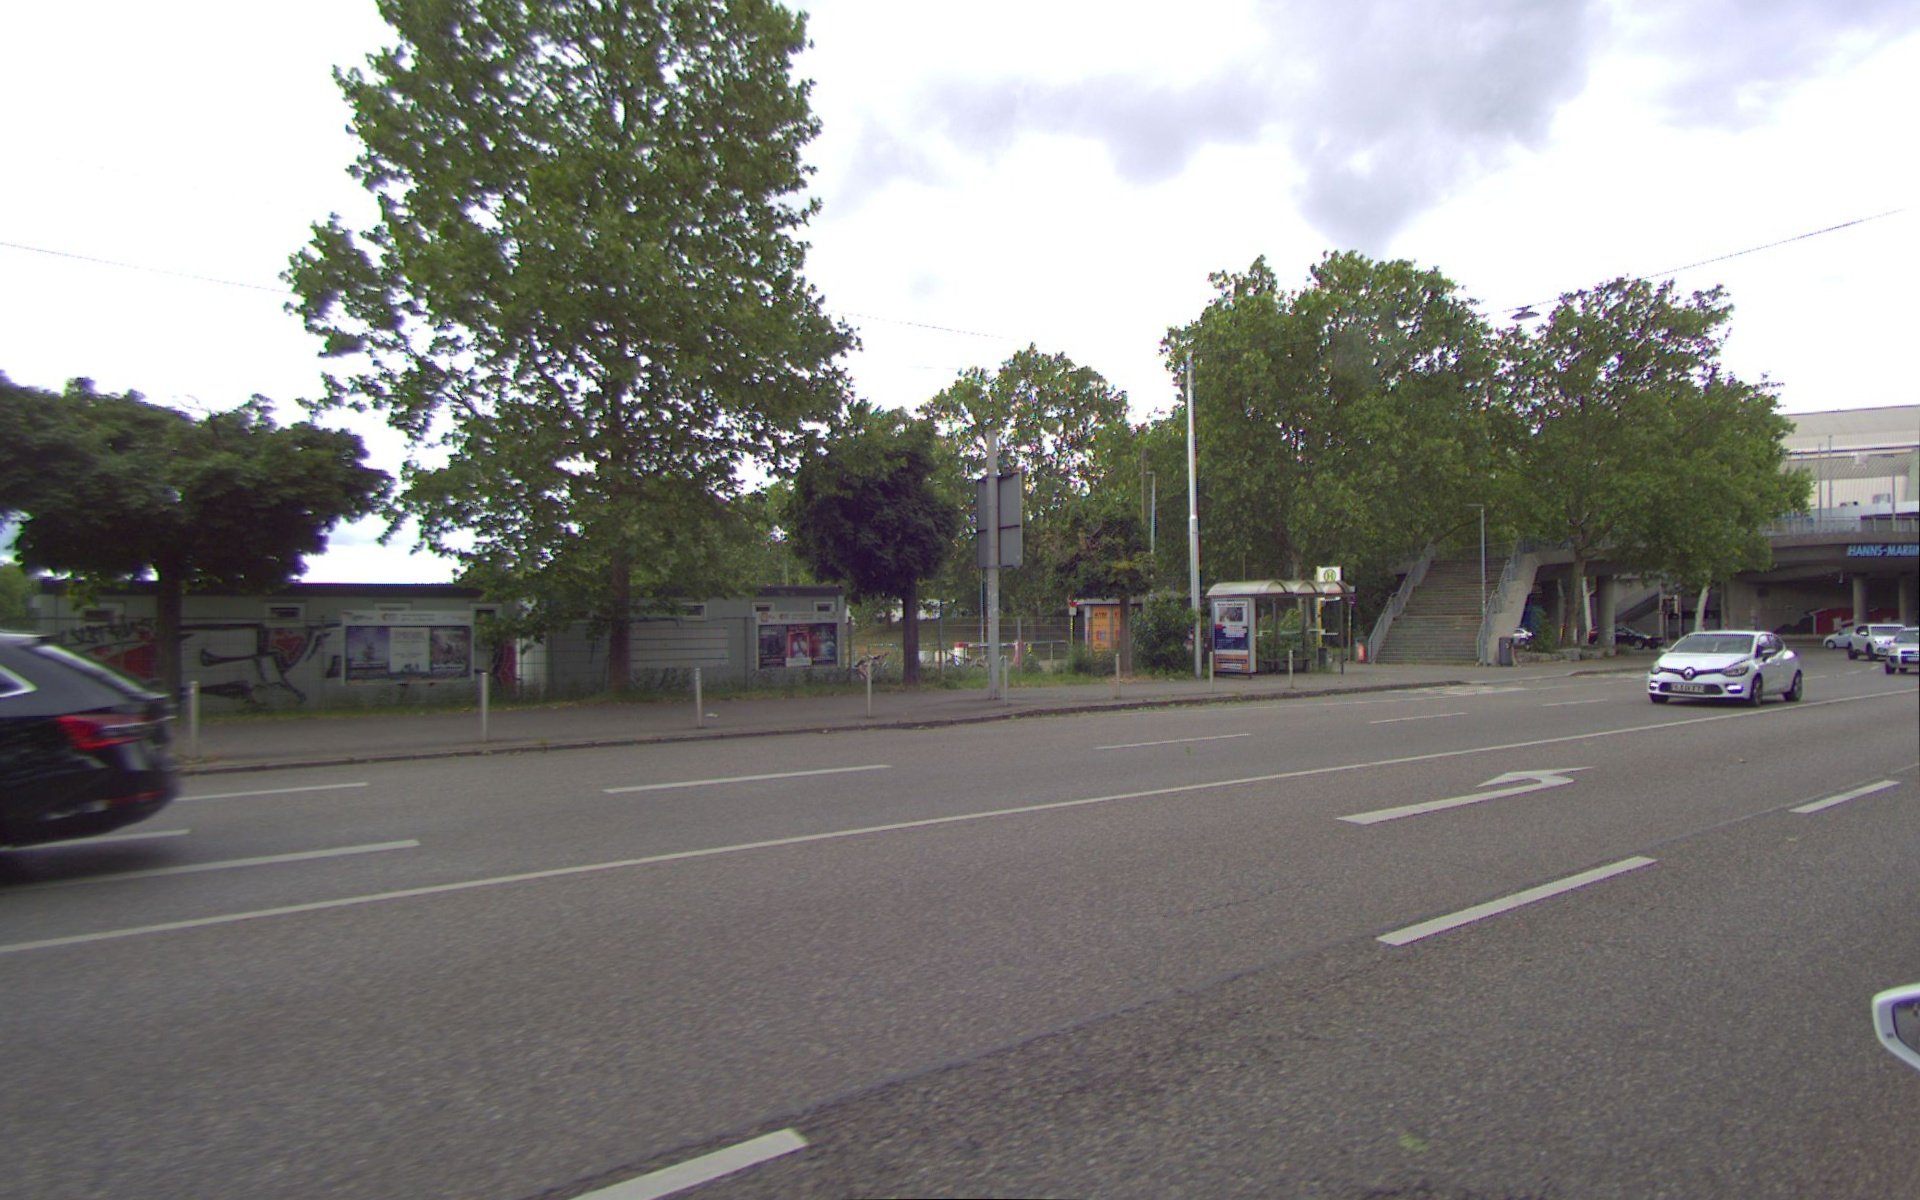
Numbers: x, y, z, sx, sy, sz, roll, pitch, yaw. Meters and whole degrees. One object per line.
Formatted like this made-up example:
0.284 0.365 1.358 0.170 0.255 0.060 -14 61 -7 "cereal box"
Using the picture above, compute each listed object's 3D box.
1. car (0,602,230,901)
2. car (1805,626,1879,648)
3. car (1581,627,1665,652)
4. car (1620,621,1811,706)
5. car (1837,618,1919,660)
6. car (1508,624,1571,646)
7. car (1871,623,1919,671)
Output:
-6.680 0.799 5.188 4.682 1.550 1.979 1 -3 -37 "car"
56.313 2.350 64.179 1.586 1.330 3.392 1 -1 -7 "car"
44.652 2.634 67.703 1.754 1.627 4.393 1 -2 -30 "car"
15.422 1.220 20.441 4.344 1.550 1.979 1 -3 -37 "car"
42.052 1.750 45.829 1.963 1.767 4.590 0 -1 27 "car"
46.857 2.846 81.282 1.981 1.682 3.958 1 -1 -37 "car"
32.470 1.577 33.794 3.962 1.545 1.980 1 -2 -37 "car"
